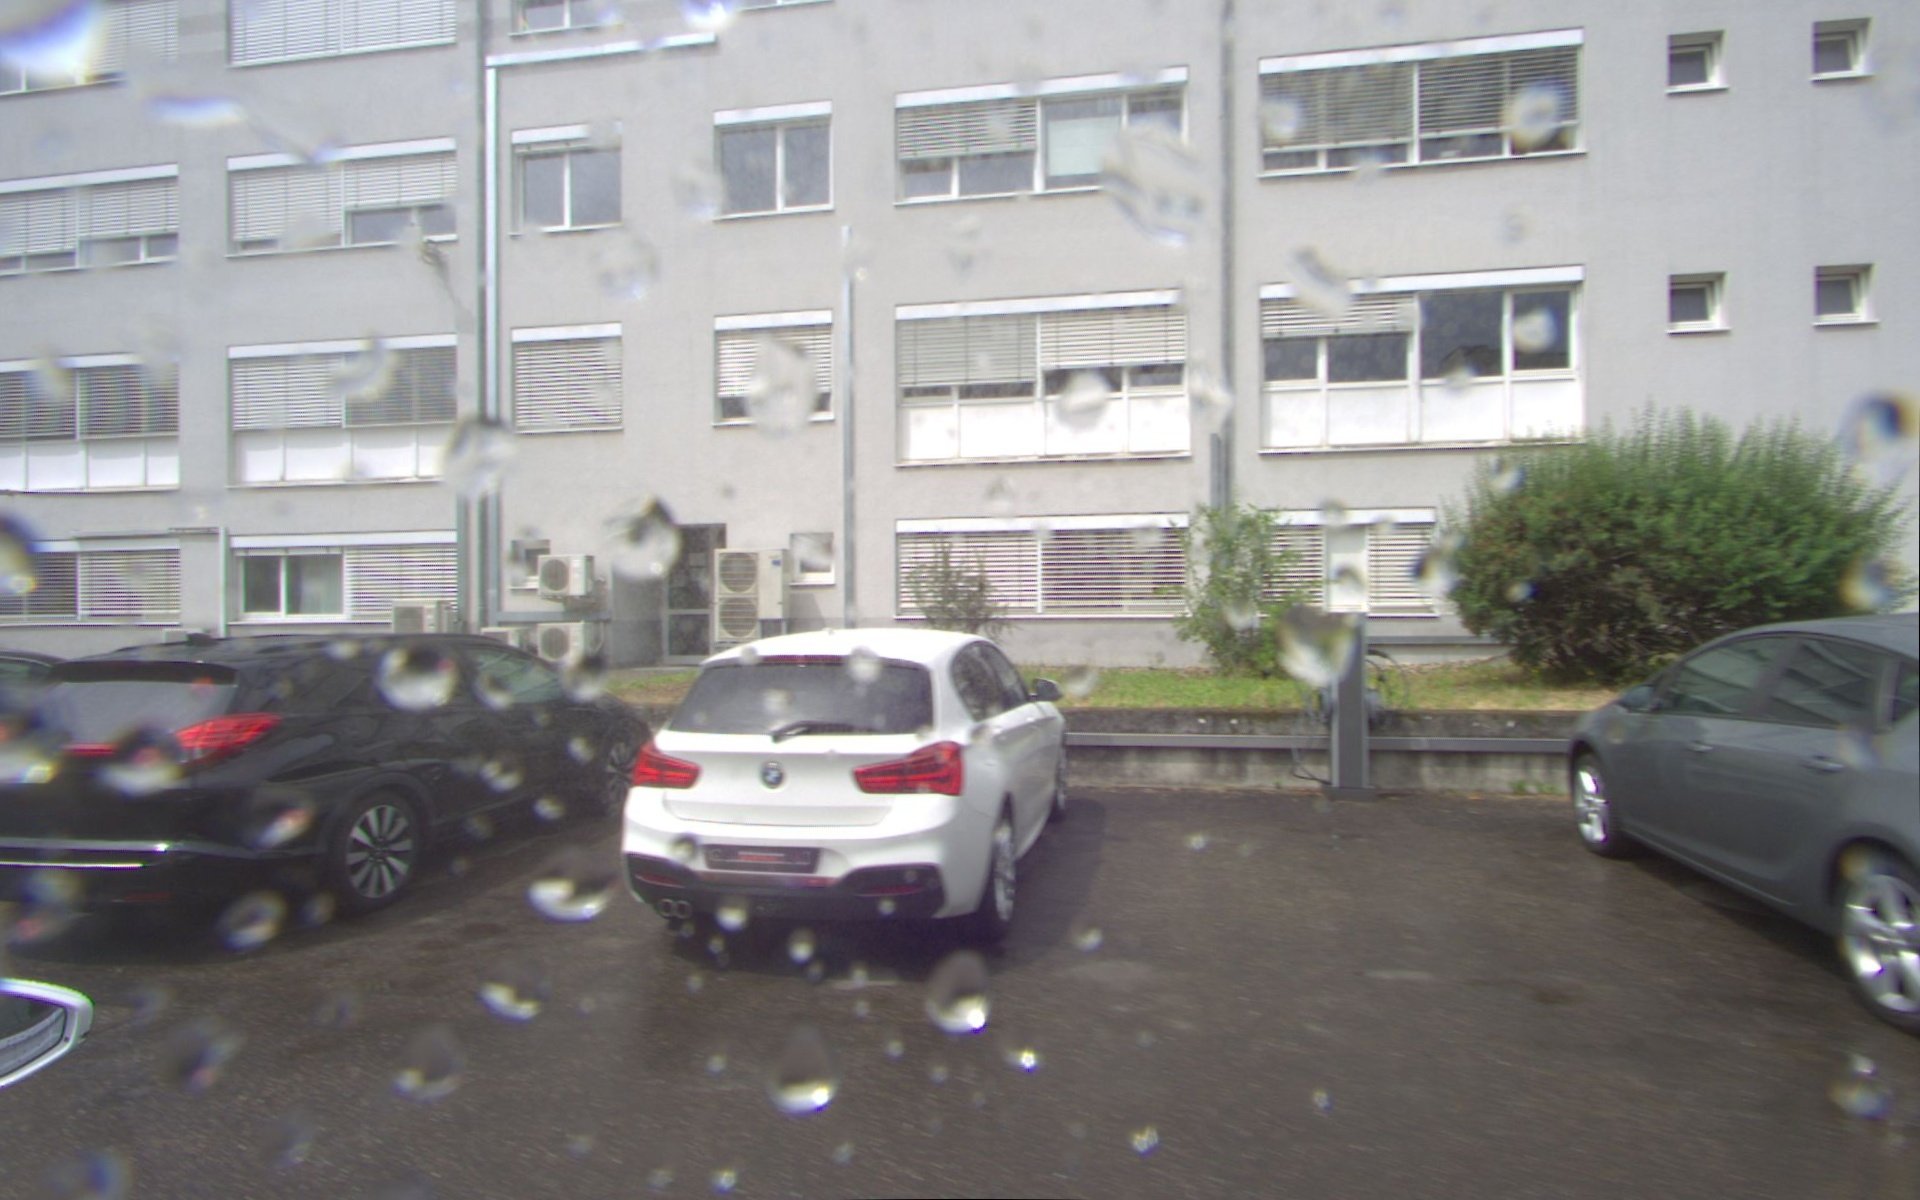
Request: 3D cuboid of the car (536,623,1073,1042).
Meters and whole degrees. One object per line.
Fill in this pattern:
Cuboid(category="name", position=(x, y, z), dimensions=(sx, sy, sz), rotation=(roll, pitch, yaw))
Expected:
Cuboid(category="car", position=(-0.424, 0.915, 5.900), dimensions=(1.798, 1.474, 4.108), rotation=(0, 0, 12))

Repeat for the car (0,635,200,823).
Cuboid(category="car", position=(-8.214, 0.992, 7.171), dimensions=(1.825, 1.366, 4.366), rotation=(0, 0, 9))

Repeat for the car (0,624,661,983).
Cuboid(category="car", position=(-3.763, 0.916, 6.395), dimensions=(1.902, 1.419, 4.182), rotation=(-1, 0, 9))

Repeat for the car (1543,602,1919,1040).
Cuboid(category="car", position=(4.374, 0.760, 4.664), dimensions=(1.637, 1.477, 4.090), rotation=(-1, -1, 12))
